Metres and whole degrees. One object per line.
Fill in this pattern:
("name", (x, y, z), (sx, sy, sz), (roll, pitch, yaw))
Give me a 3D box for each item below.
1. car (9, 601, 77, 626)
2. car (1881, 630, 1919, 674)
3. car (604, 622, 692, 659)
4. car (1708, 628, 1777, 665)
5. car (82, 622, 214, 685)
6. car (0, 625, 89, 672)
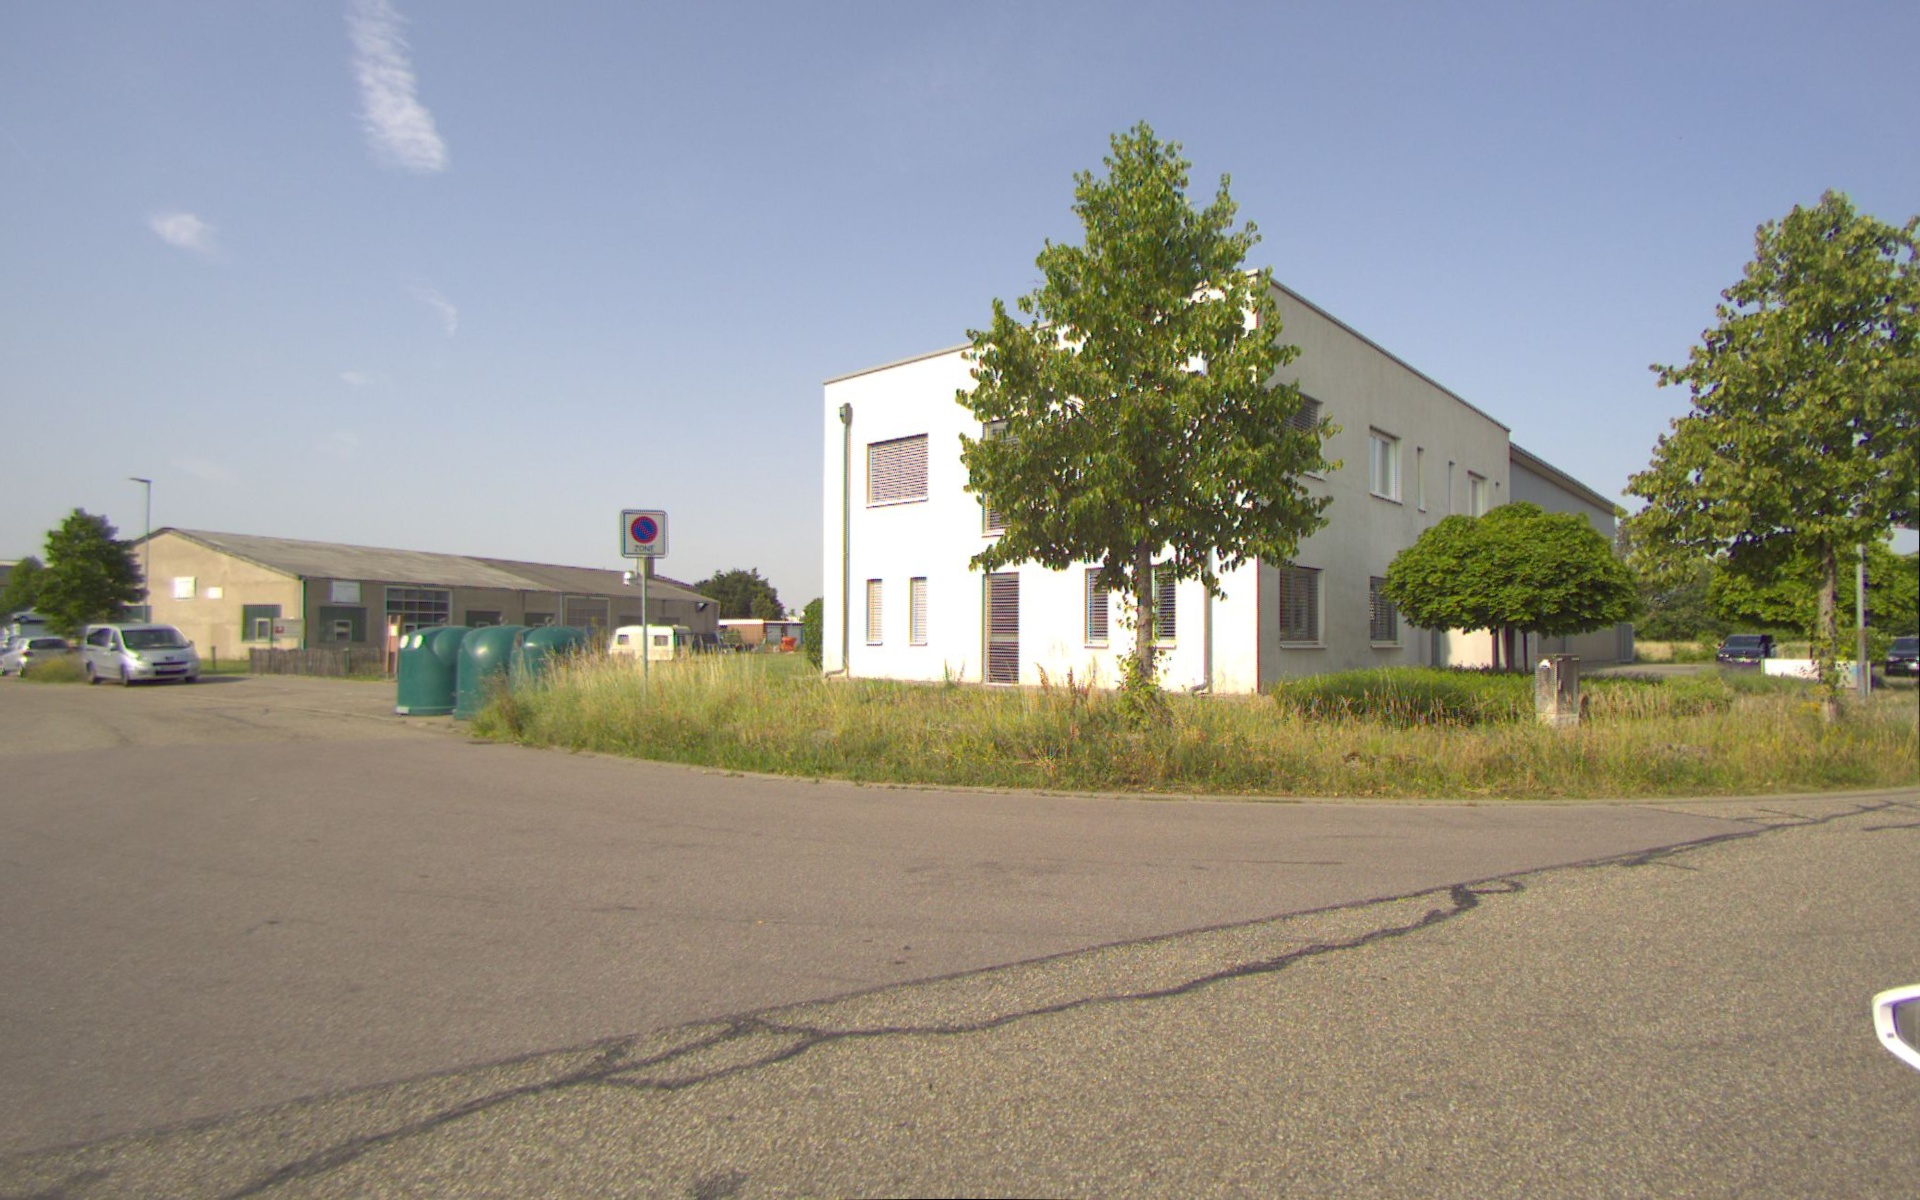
("car", (-79.874, 1.154, 87.509), (1.967, 2.040, 3.988), (2, 0, 34))
("car", (34.650, 1.855, 36.465), (1.660, 1.496, 4.329), (0, -2, 41))
("car", (-18.648, 2.422, 60.155), (4.558, 2.166, 2.148), (0, -2, 15))
("car", (31.078, 1.820, 39.870), (1.966, 1.342, 4.329), (0, -2, 41))
("car", (-26.009, 1.652, 32.128), (4.807, 1.848, 2.017), (-1, -2, 35))
("car", (-36.706, 1.897, 40.116), (3.934, 1.750, 1.994), (-1, -2, 35))
